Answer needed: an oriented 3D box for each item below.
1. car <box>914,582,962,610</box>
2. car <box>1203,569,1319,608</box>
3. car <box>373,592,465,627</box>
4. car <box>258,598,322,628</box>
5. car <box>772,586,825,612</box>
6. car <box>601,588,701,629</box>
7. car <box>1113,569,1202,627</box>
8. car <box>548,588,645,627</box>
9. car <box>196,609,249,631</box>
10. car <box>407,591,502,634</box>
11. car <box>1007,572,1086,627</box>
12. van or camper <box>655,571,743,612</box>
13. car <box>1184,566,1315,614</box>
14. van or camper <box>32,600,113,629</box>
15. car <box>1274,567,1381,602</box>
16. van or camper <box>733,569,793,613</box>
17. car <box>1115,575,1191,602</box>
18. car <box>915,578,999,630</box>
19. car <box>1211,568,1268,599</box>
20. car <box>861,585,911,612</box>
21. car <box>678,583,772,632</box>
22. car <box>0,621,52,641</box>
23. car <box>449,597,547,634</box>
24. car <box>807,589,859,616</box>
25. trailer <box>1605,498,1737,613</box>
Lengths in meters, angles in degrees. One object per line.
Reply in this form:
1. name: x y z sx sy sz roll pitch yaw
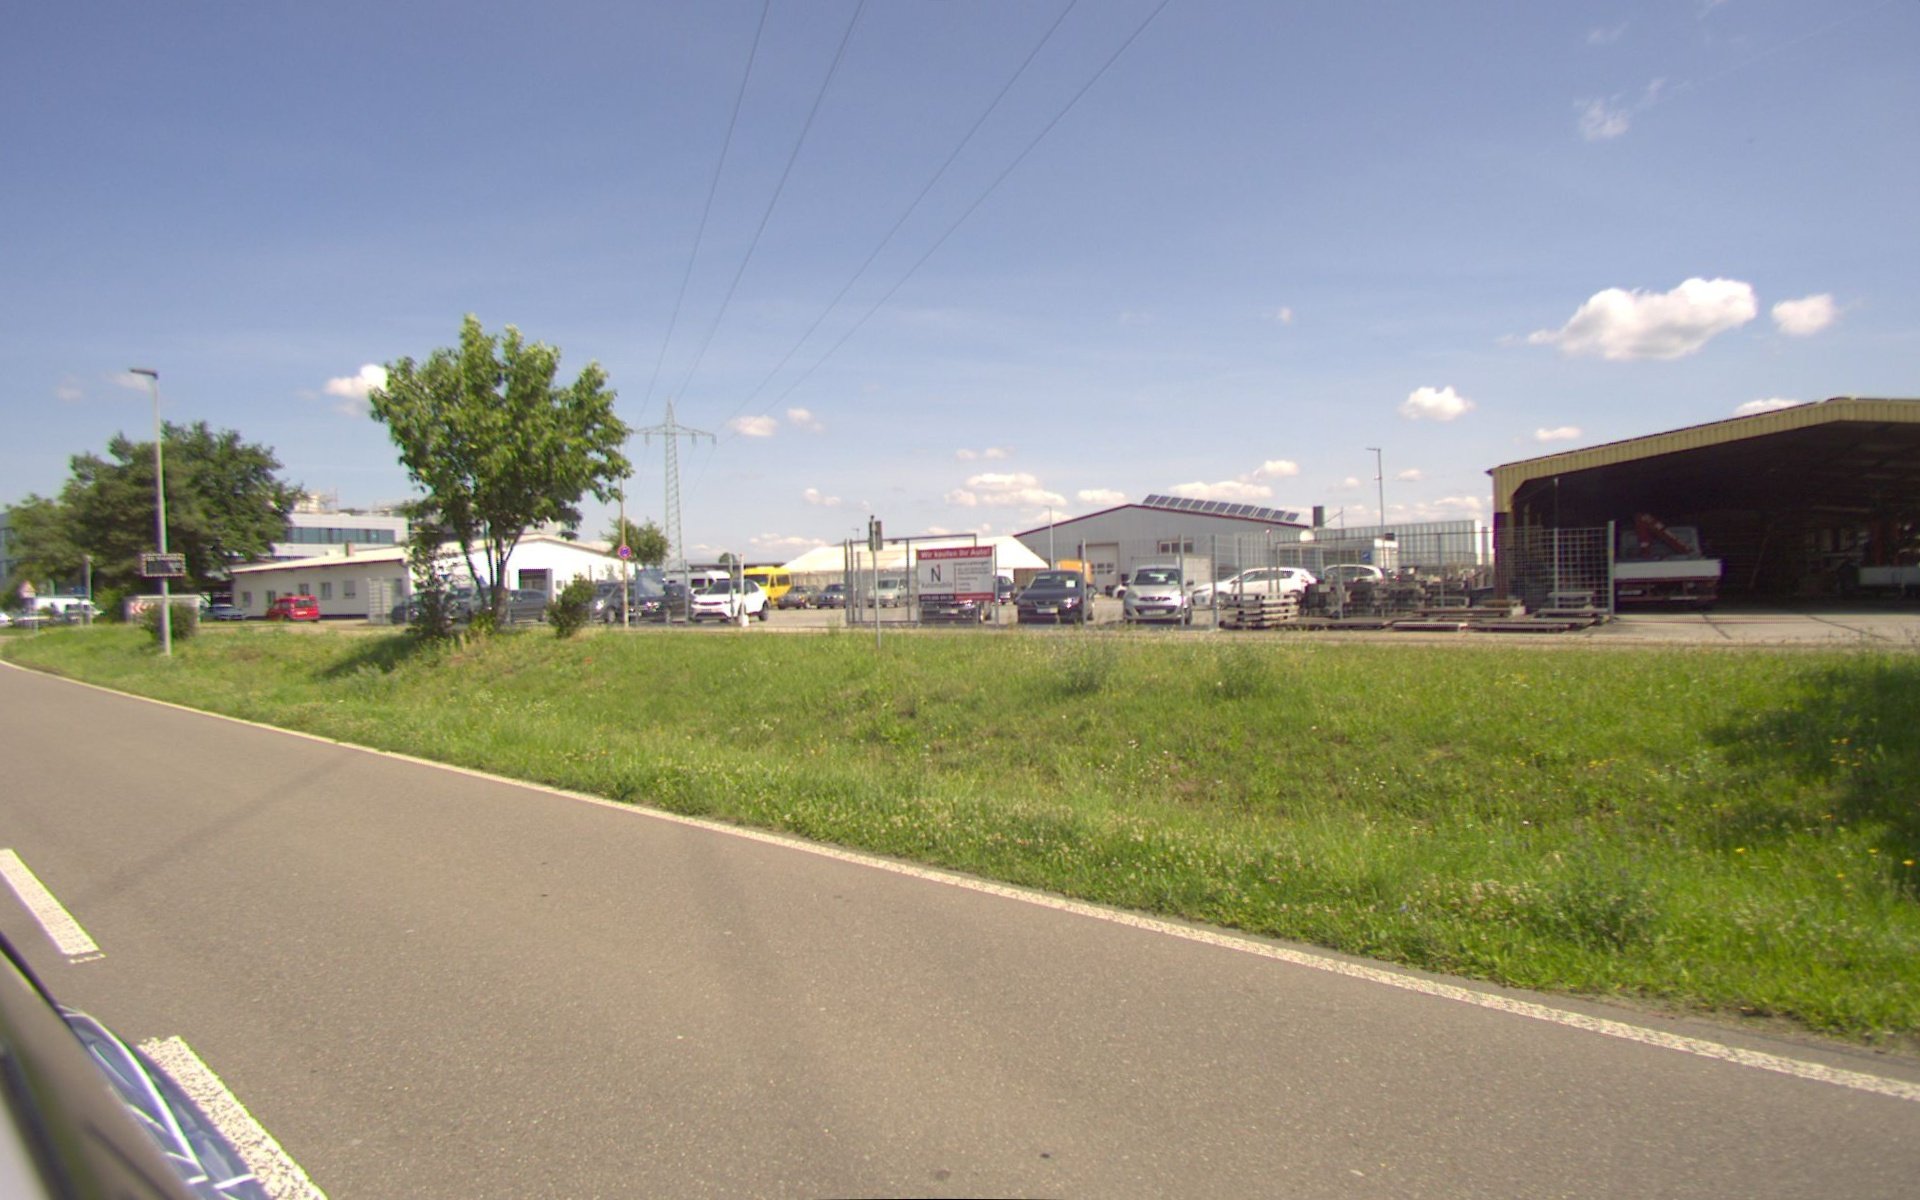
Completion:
1. car: -1.109 -0.244 53.286 1.919 1.320 3.992 -2 1 7
2. car: 11.482 -0.462 38.795 3.953 1.320 1.840 -2 1 8
3. car: -24.452 0.421 45.840 1.782 1.412 3.557 -2 1 12
4. car: -42.862 0.827 64.726 4.219 1.757 1.977 -1 1 35
5. car: -9.113 -0.100 57.379 1.919 1.320 3.992 -2 1 7
6. car: -11.193 0.277 36.962 1.921 1.320 3.990 -2 1 9
7. car: 5.028 -0.084 26.188 1.919 1.320 3.992 -2 1 7
8. car: -13.965 0.270 39.092 1.919 1.320 3.992 -2 1 7
9. car: -53.278 1.434 73.052 4.511 1.418 1.974 -1 1 39
10. car: -21.965 0.504 44.129 1.703 1.717 4.100 -2 1 7
11. car: 2.387 -0.050 27.265 1.919 1.320 3.992 -2 1 7
12. van or camper: -17.906 -0.550 69.207 6.757 2.619 1.976 -1 1 37
13. car: 10.240 -0.362 36.055 4.200 1.497 1.995 -2 1 9
14. van or camper: -85.729 1.379 97.864 5.492 2.516 2.085 -2 1 -27
15. car: 15.824 -0.676 43.718 3.953 1.320 1.840 -2 1 8
16. van or camper: -11.483 -0.547 59.350 1.872 2.393 5.329 -2 1 7
17. car: 11.335 -0.674 59.545 3.985 1.453 1.863 -2 1 31
18. car: -0.009 0.065 29.315 1.919 1.320 3.992 -2 1 7
19. car: 16.772 -1.017 60.571 1.996 1.707 3.951 -2 1 37
20. car: -3.976 -0.103 54.882 1.919 1.320 3.992 -2 1 7
21. car: -8.140 0.218 35.481 1.919 1.552 3.992 -2 1 7
22. car: -80.529 2.635 86.625 2.000 1.530 3.944 -1 1 42
23. car: -19.317 0.617 42.493 1.919 1.320 3.992 -2 1 7
24. car: -6.969 0.101 56.027 1.919 1.320 3.992 -2 1 7
25. trailer: 19.868 -1.210 28.552 2.733 2.846 5.518 -2 1 33
